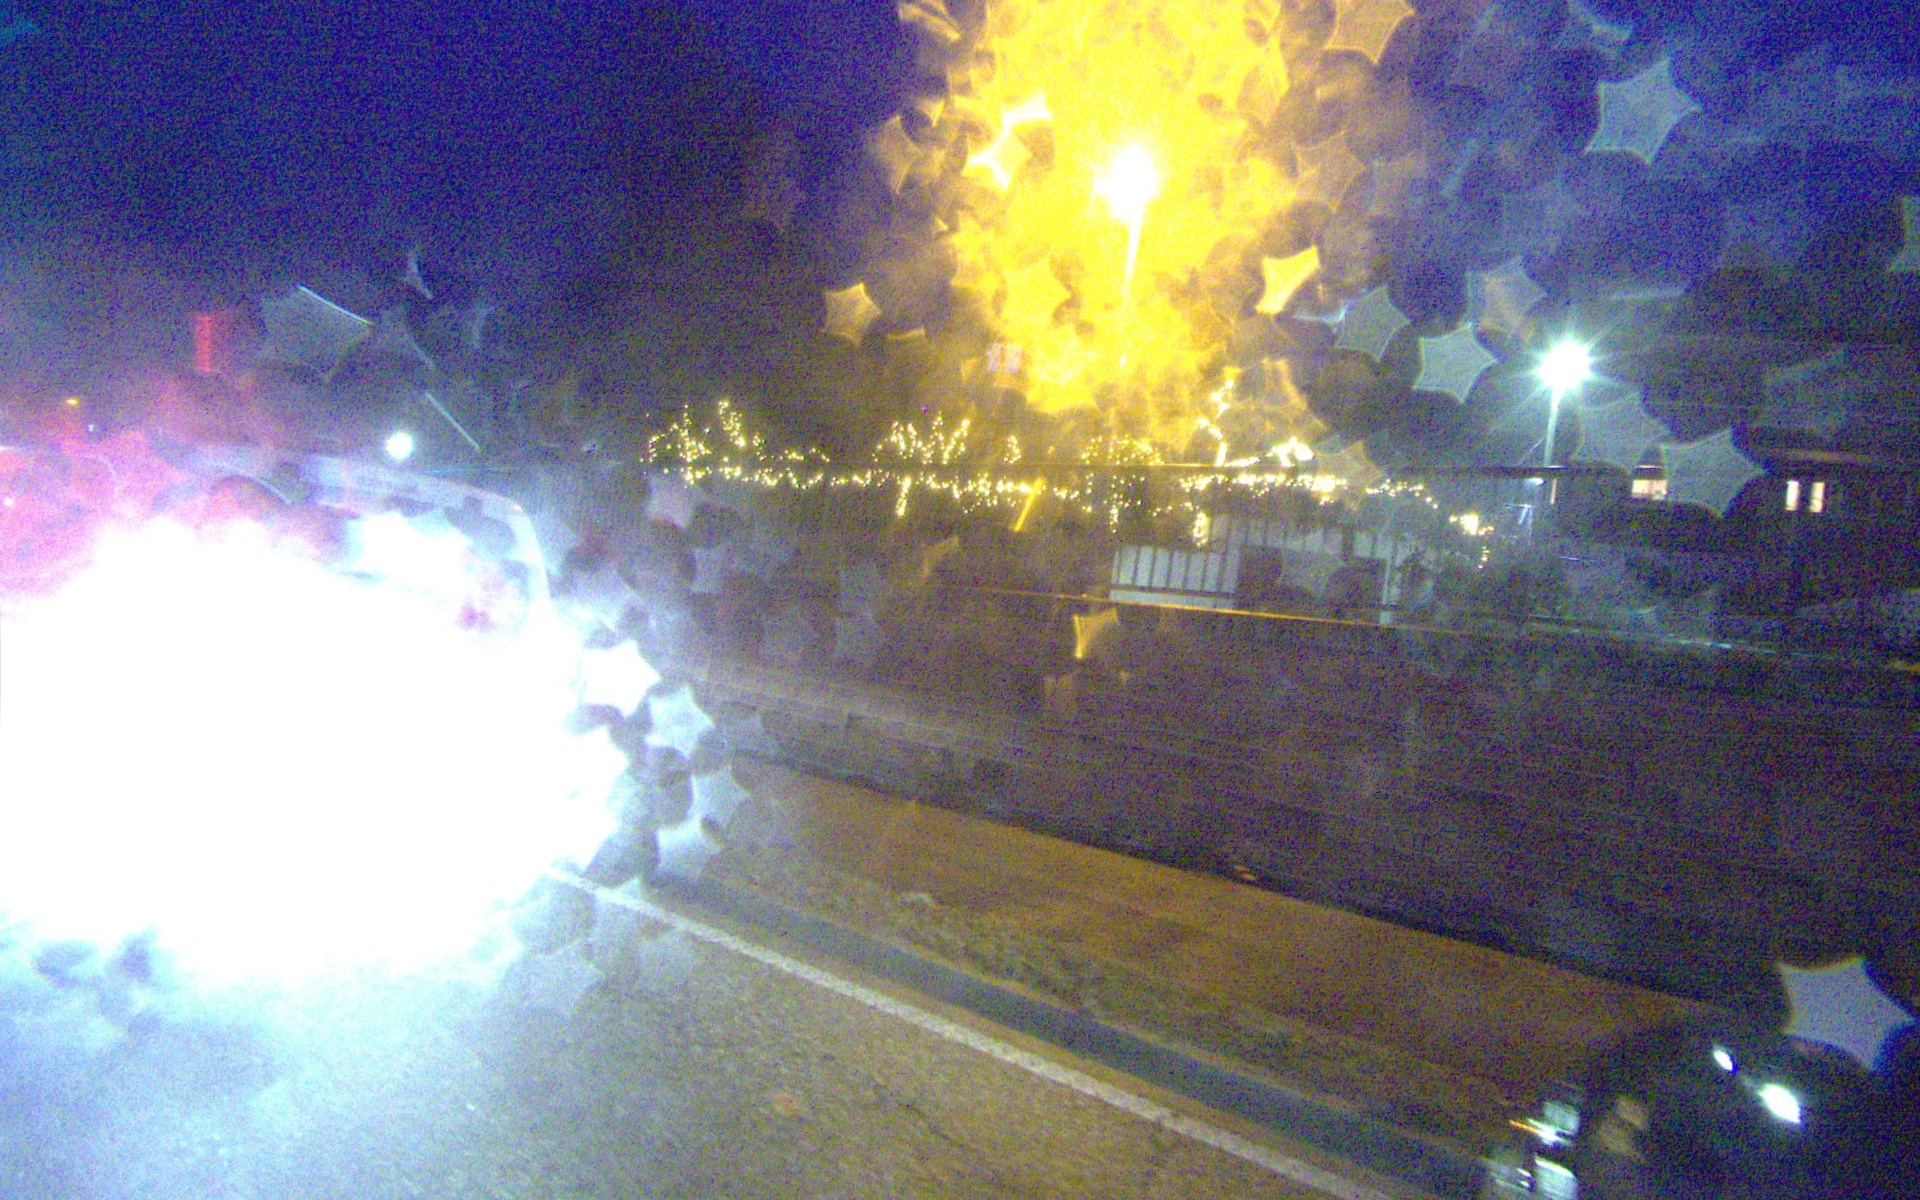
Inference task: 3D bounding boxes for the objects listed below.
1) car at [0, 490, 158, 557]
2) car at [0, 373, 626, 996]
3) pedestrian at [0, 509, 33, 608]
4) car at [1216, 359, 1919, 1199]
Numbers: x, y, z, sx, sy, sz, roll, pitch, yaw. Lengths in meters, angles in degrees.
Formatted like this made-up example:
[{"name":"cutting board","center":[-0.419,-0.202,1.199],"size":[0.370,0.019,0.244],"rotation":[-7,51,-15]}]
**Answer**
[{"name":"car","center":[-28.511,-2.456,32.018],"size":[4.296,1.476,1.838],"rotation":[9,-2,-30]},{"name":"car","center":[-3.927,0.153,4.947],"size":[4.269,1.886,1.855],"rotation":[6,-2,32]},{"name":"pedestrian","center":[-17.190,-0.759,17.982],"size":[0.532,1.721,0.624],"rotation":[6,-1,29]},{"name":"car","center":[2.781,0.947,0.539],"size":[4.860,1.755,1.838],"rotation":[6,-2,32]}]
